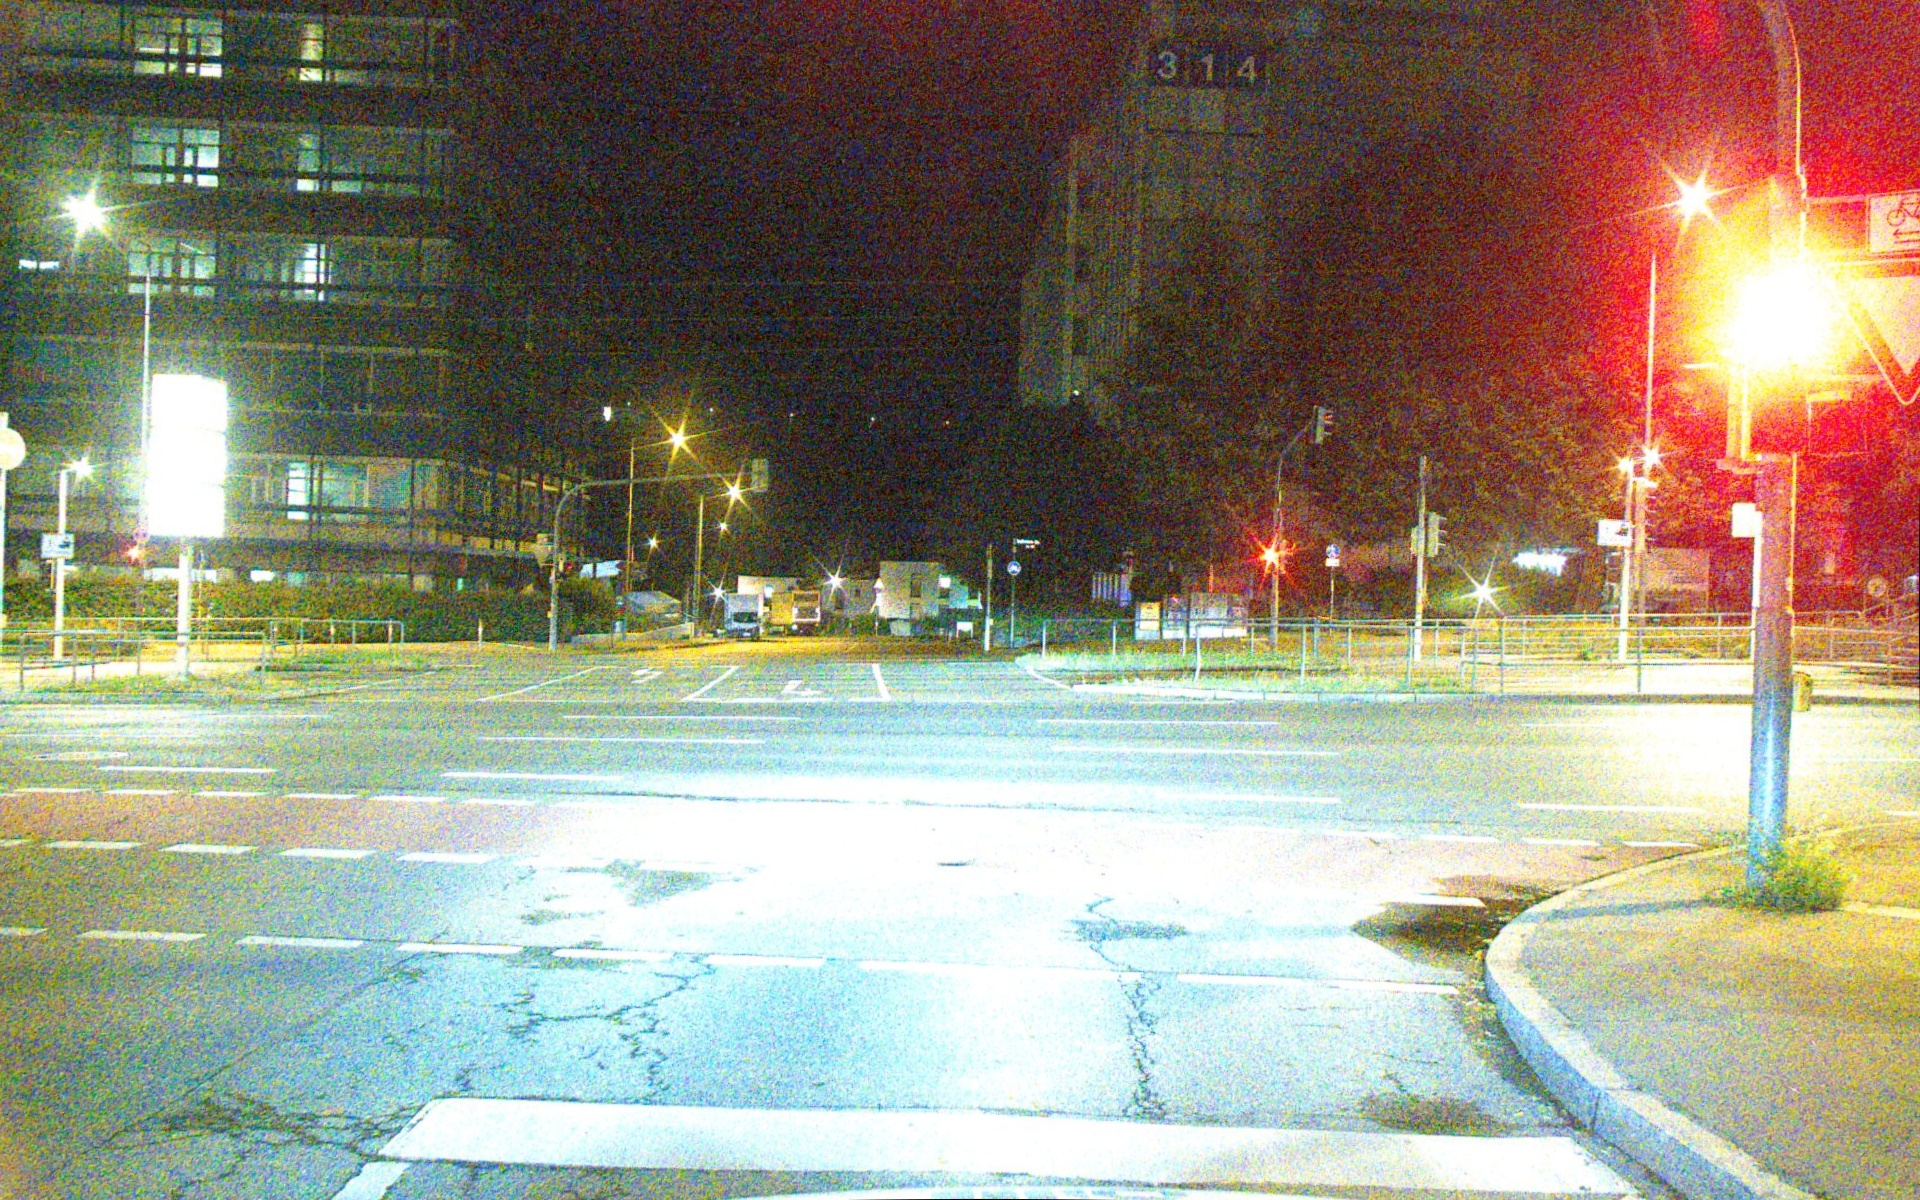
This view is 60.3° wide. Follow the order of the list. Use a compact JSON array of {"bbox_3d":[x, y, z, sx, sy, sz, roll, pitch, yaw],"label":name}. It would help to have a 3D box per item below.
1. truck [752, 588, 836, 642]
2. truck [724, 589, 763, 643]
[{"bbox_3d":[-15.293,1.303,150.979,4.751,4.627,12.593,1,0,-19],"label":"truck"},{"bbox_3d":[-15.615,1.139,119.104,2.535,3.772,5.724,1,0,-9],"label":"truck"}]
